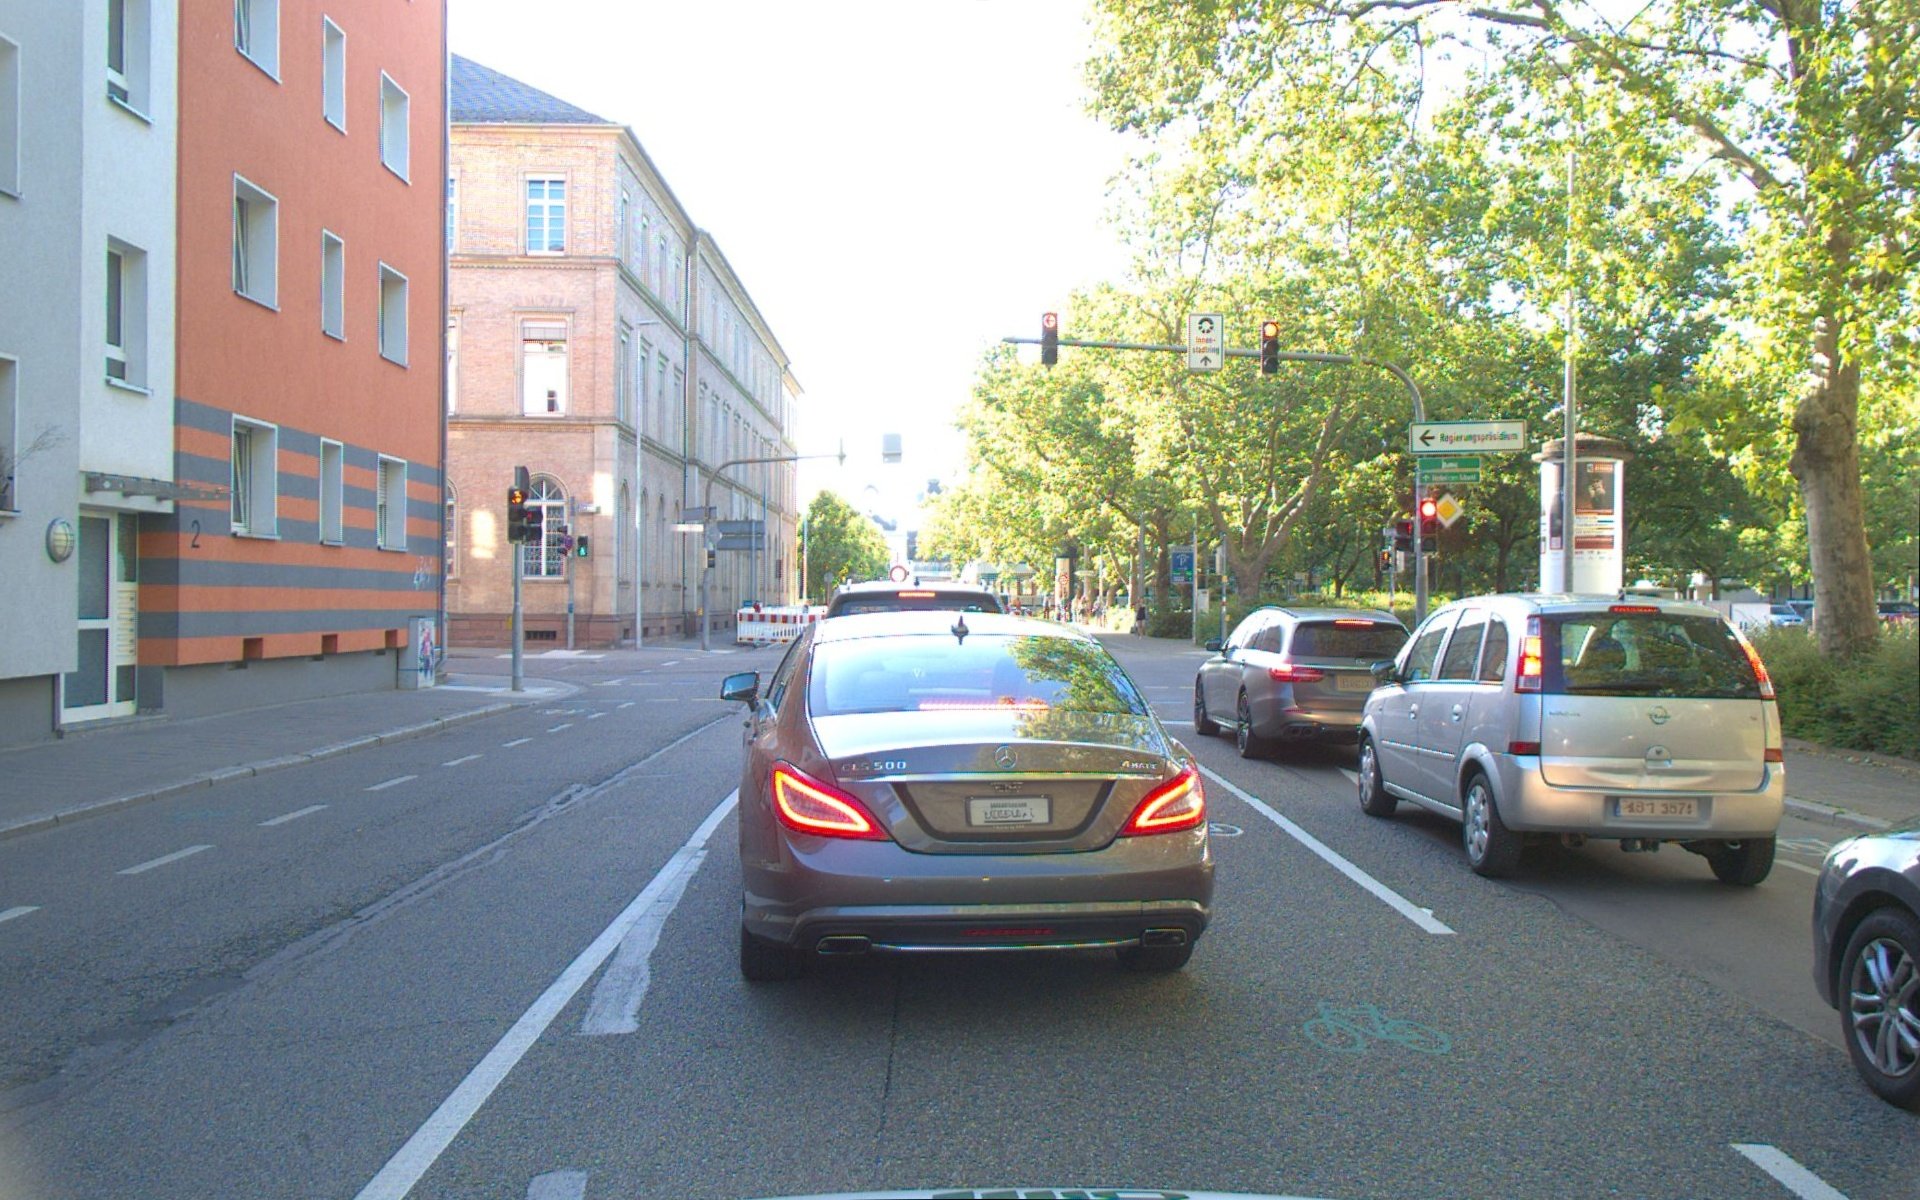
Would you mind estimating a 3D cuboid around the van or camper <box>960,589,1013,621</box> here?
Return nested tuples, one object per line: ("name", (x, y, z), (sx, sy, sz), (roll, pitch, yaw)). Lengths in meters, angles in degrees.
("van or camper", (1.663, 0.282, 103.915), (1.963, 1.975, 4.571), (1, 0, -18))

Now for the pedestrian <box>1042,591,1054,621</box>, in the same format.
("pedestrian", (5.613, 0.374, 105.766), (0.687, 1.870, 0.736), (1, 0, -3))

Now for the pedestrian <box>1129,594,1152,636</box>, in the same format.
("pedestrian", (7.195, 0.596, 65.970), (0.813, 1.634, 0.651), (1, 0, -1))

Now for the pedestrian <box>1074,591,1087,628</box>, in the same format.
("pedestrian", (6.127, 0.469, 84.120), (0.591, 1.853, 0.651), (1, 0, -1))

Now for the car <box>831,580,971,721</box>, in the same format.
("car", (-0.779, 0.642, 23.212), (1.783, 1.793, 3.999), (0, 0, -1))

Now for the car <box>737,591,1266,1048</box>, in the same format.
("car", (-0.131, 0.710, 7.645), (1.769, 1.482, 4.343), (1, 0, -8))

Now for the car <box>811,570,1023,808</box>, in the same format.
("car", (-0.400, 0.628, 13.711), (1.487, 1.675, 3.878), (1, 0, -3))

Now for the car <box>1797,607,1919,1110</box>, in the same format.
("car", (3.739, 0.815, 3.727), (1.611, 1.508, 3.975), (2, 0, -1))

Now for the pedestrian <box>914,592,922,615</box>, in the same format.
("pedestrian", (-3.180, 0.245, 126.015), (0.569, 1.763, 0.622), (1, 0, -1))

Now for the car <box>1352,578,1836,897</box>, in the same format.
("car", (3.822, 0.724, 10.707), (1.666, 1.631, 3.860), (2, 0, 1))

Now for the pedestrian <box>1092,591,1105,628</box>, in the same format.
("pedestrian", (7.051, 0.476, 84.072), (0.591, 1.853, 0.651), (1, 0, -1))

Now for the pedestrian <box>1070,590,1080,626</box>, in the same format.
("pedestrian", (6.662, 0.454, 95.565), (0.528, 2.049, 0.473), (1, -1, -1))

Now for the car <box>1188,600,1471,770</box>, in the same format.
("car", (3.722, 0.785, 17.549), (1.874, 1.490, 4.668), (2, 0, -1))
